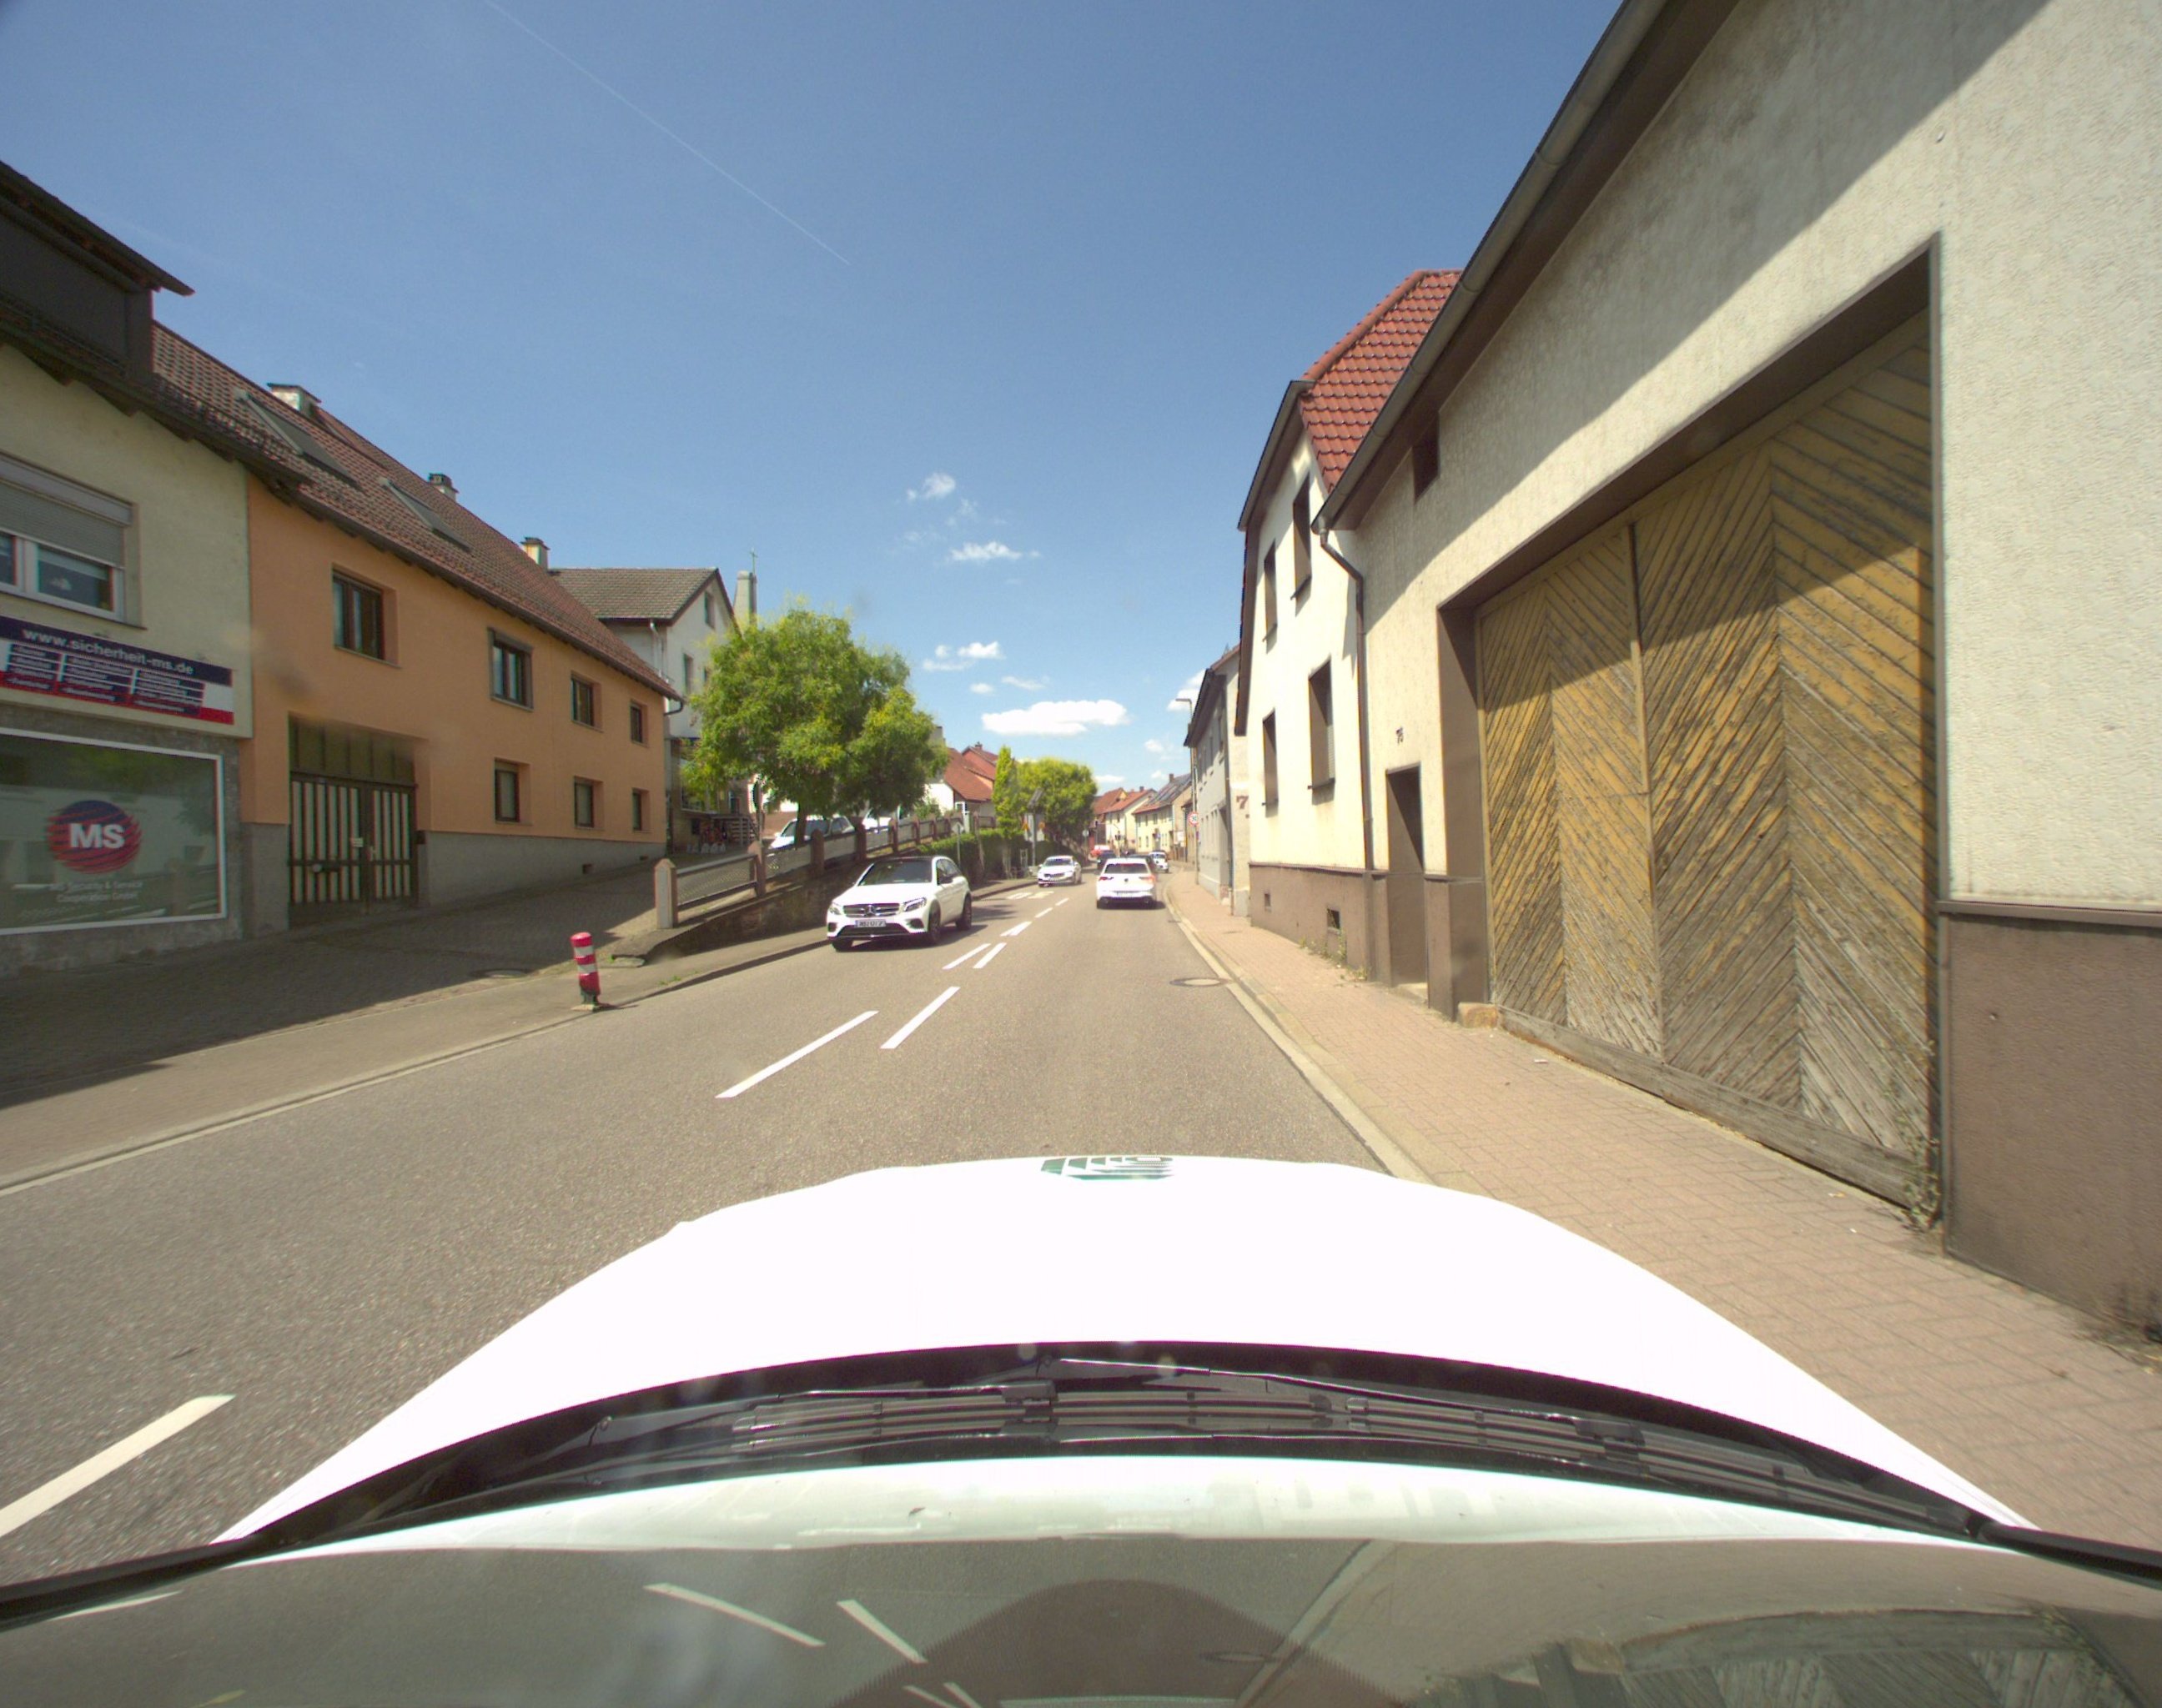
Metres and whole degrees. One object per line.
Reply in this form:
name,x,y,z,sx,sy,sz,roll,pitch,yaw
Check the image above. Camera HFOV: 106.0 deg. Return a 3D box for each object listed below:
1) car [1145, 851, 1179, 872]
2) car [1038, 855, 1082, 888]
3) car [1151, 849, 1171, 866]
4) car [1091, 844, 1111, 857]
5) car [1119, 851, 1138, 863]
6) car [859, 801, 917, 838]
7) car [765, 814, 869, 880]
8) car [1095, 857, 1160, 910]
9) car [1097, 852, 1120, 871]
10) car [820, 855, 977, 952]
car,5.893,0.515,58.809,1.794,1.467,4.016,0,0,15
car,-0.982,0.828,40.746,1.806,1.446,4.433,-3,0,3
car,7.503,0.315,76.816,1.767,1.538,4.005,-1,0,5
car,2.933,-0.525,118.849,1.779,1.765,3.979,-1,0,-16
car,6.075,0.354,104.347,1.773,1.538,3.992,-1,0,-6
car,-8.418,-1.575,35.760,1.571,1.361,3.857,-1,6,0
car,-7.569,-0.285,23.724,1.688,1.542,3.857,-1,6,0
car,1.369,0.824,24.720,1.801,1.467,4.002,0,0,2
car,2.325,0.590,68.438,1.609,1.444,3.808,-3,0,6
car,-3.413,0.851,16.170,1.835,1.580,4.449,-2,0,3
